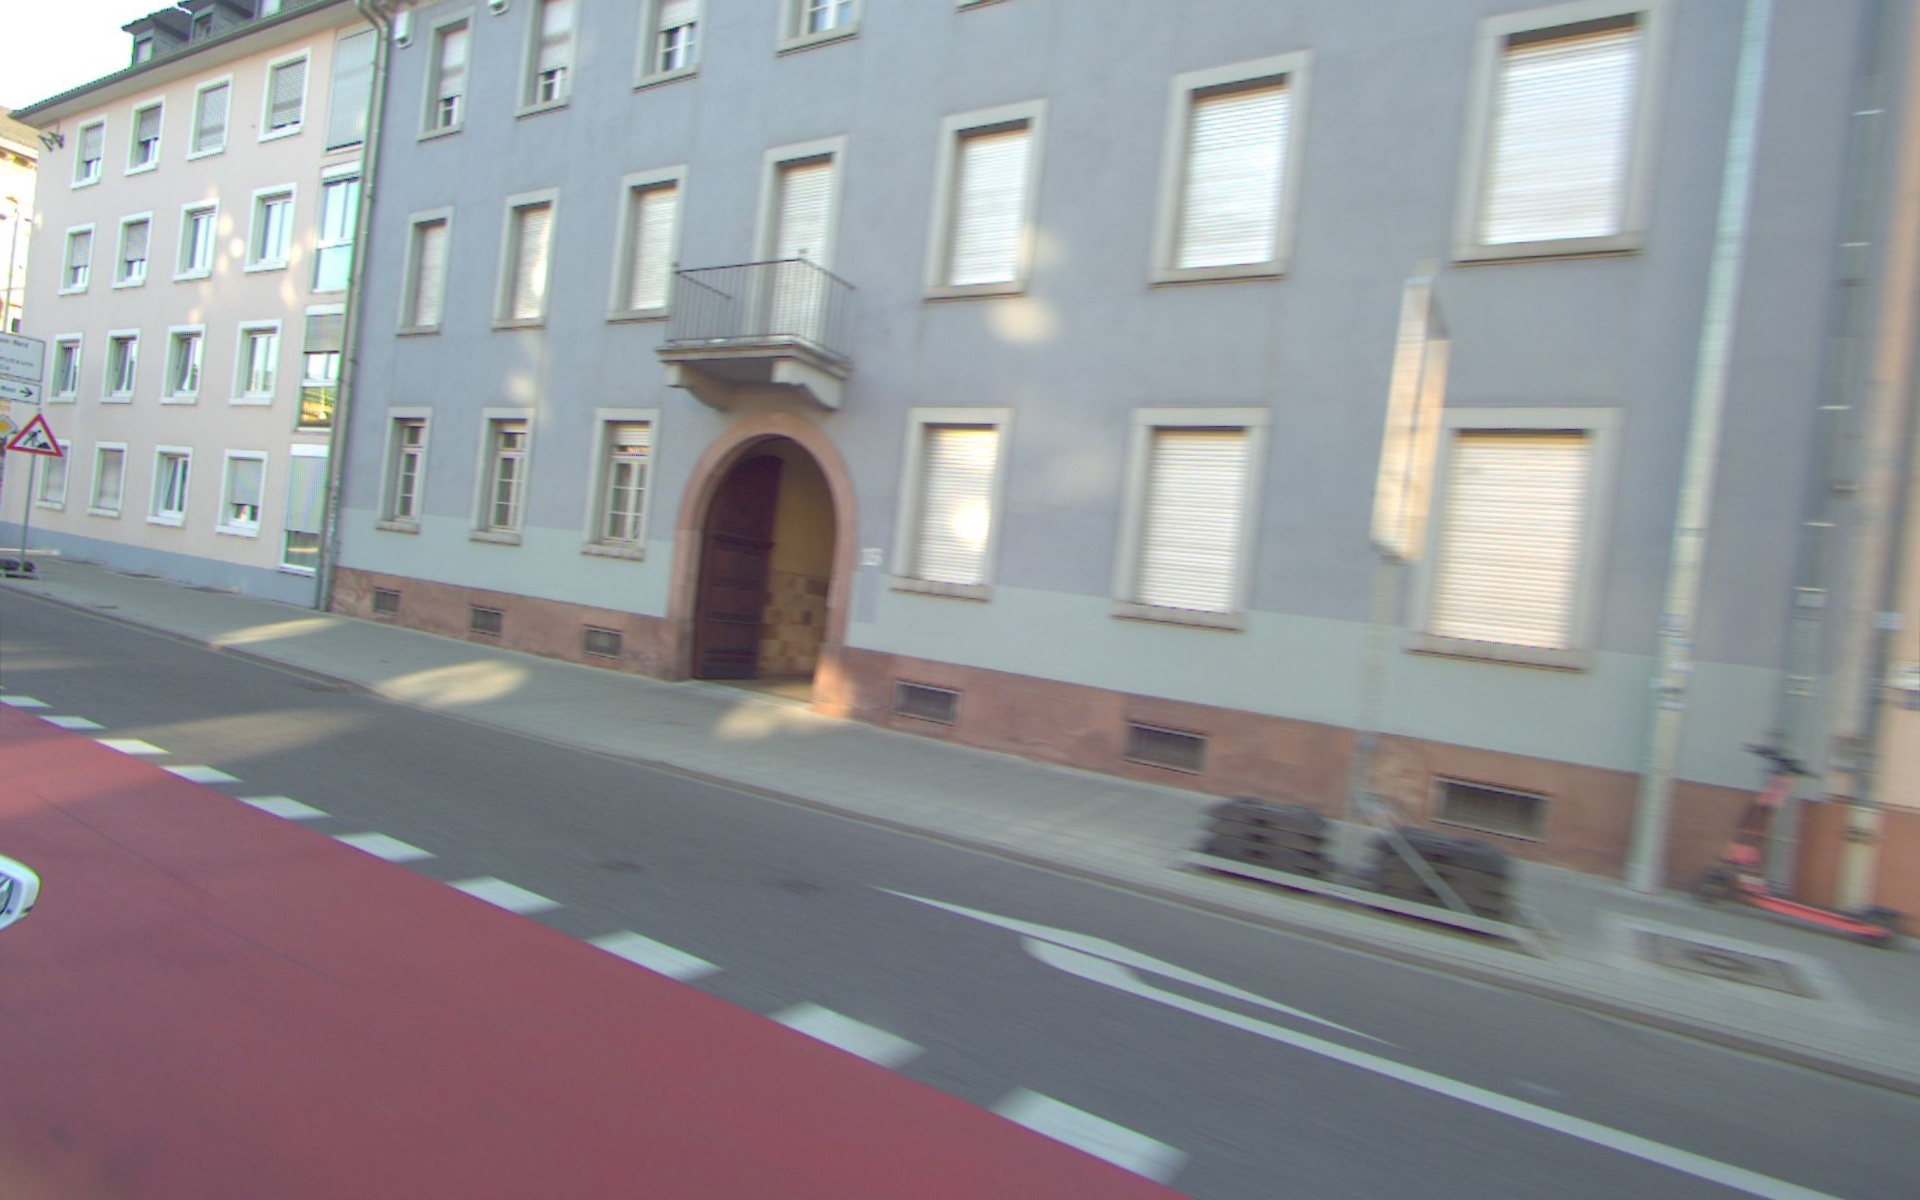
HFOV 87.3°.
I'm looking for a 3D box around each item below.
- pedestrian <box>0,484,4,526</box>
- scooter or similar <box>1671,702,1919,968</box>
[{"bbox_3d":[-42.986,-4.260,44.698,0.531,1.881,0.616,6,1,-35],"label":"pedestrian"},{"bbox_3d":[6.038,1.576,6.949,1.648,1.478,0.724,7,3,41],"label":"scooter or similar"}]
